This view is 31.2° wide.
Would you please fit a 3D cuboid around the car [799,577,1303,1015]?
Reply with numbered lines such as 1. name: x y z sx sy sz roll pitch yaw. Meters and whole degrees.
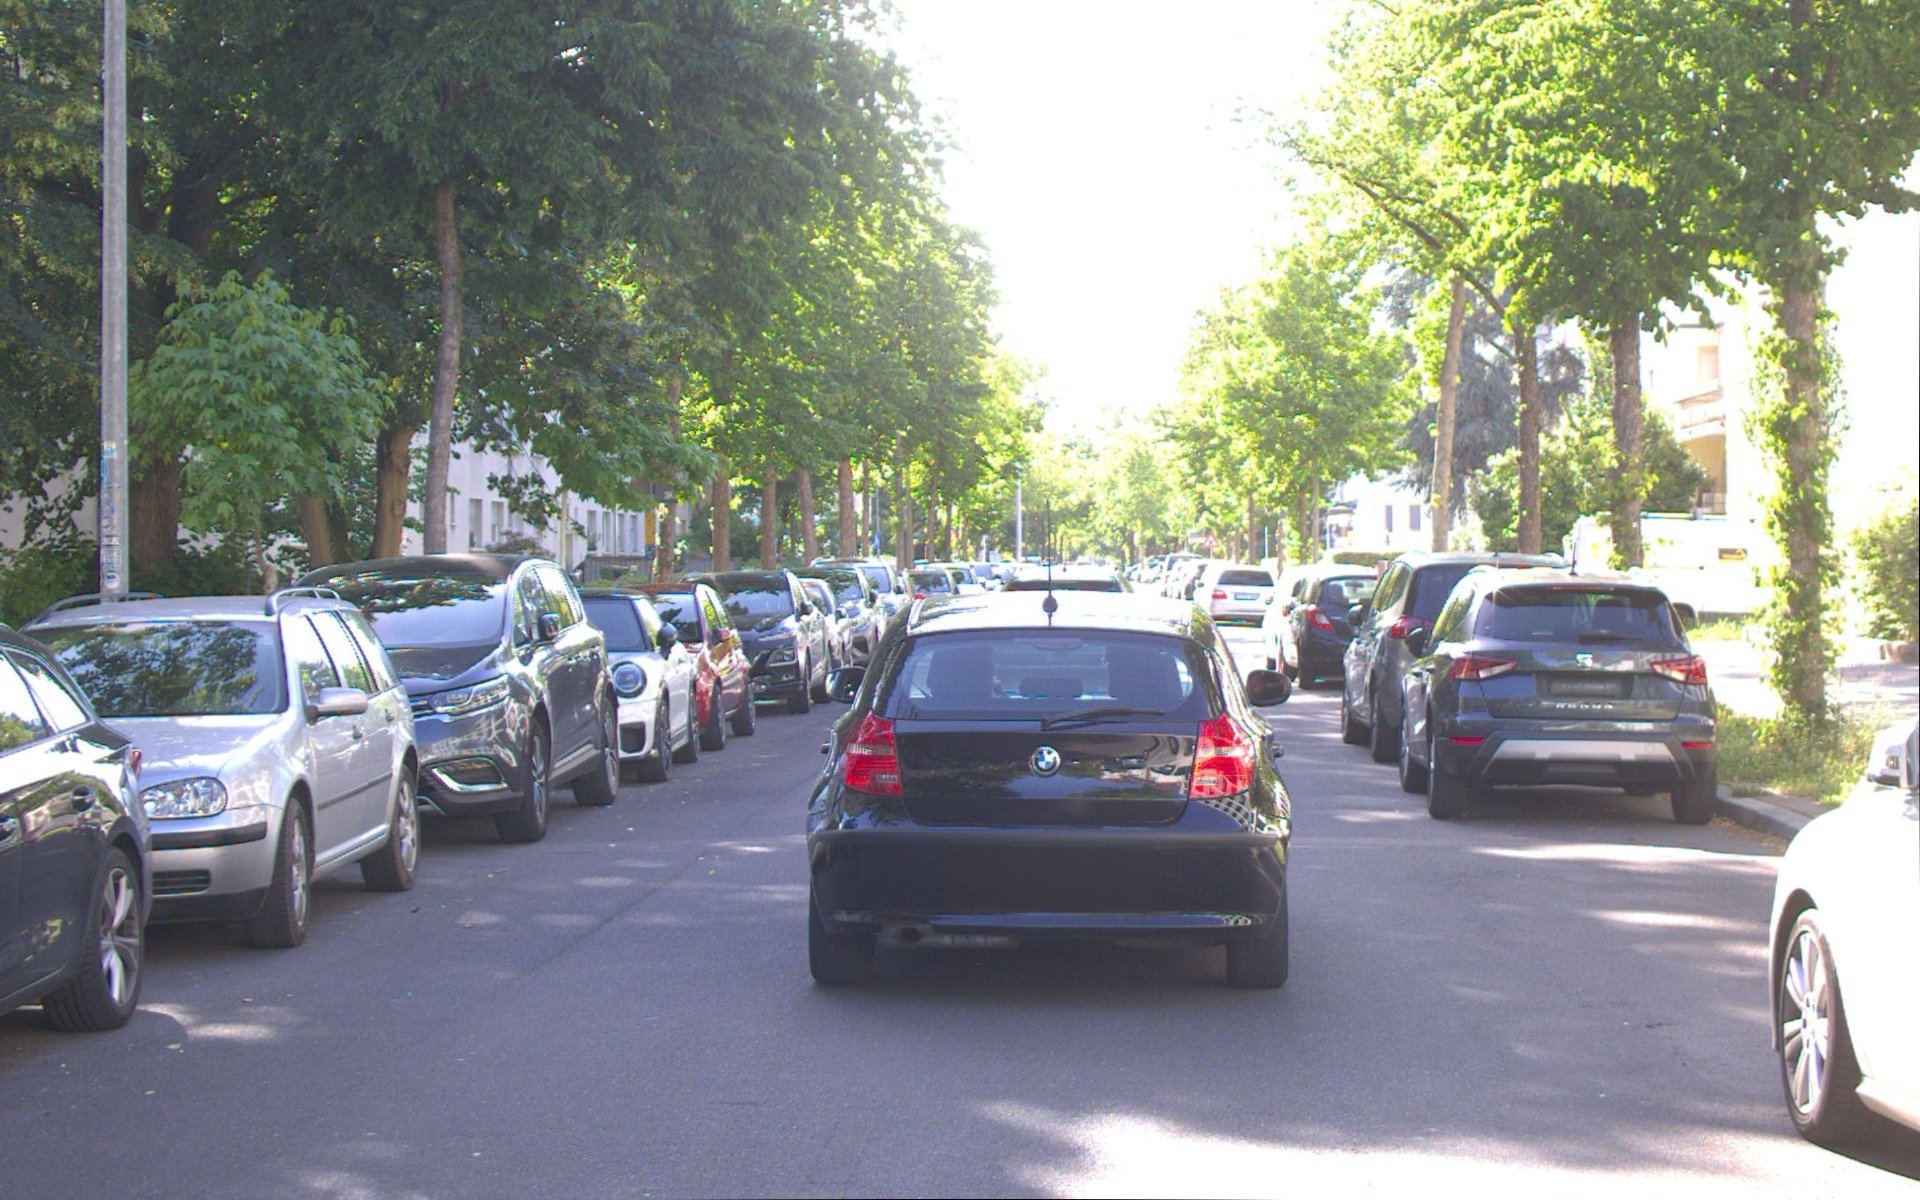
1. car: 0.253 0.635 13.089 1.649 1.392 3.412 -1 1 -2

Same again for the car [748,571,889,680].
1. car: -1.912 0.320 47.287 1.612 1.387 3.865 -1 1 2

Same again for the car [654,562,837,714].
1. car: -2.310 0.381 37.838 1.612 1.538 3.865 -1 1 2

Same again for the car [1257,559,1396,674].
1. car: 5.063 0.197 47.881 1.721 1.475 3.850 2 1 4

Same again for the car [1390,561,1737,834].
1. car: 3.759 0.541 22.004 1.721 1.523 4.000 2 1 4

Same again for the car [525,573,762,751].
1. car: -2.781 0.510 30.943 1.612 1.447 3.865 -1 1 2

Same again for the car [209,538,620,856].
1. car: -3.151 0.495 20.633 1.612 1.673 4.234 -1 1 2

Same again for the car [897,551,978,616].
1. car: -0.474 -0.386 76.879 1.612 1.387 3.865 -1 1 2

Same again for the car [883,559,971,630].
1. car: -0.658 -0.127 71.459 1.612 1.387 3.865 -1 1 2

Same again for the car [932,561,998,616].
1. car: 0.152 -0.324 91.120 1.612 1.387 3.865 -1 1 2

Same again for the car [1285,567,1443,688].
1. car: 5.018 0.307 43.090 1.721 1.375 3.850 2 1 4

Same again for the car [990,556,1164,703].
1. car: 1.276 0.269 36.029 1.649 1.421 4.001 -1 1 4

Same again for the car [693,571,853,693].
1. car: -2.286 0.361 42.774 1.612 1.387 3.865 -1 1 2

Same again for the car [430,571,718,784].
1. car: -2.877 0.535 26.330 1.612 1.447 3.865 -1 1 2

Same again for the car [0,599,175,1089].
1. car: -3.660 0.754 10.113 1.612 1.422 4.058 -1 1 2

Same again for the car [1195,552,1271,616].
1. car: 6.624 -0.403 83.137 1.721 1.475 3.850 -1 1 6

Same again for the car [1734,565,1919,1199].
1. car: 3.046 0.691 7.586 1.693 1.518 4.000 0 1 -1

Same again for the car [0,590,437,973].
1. car: -3.483 0.707 15.205 1.612 1.422 3.725 -1 1 2

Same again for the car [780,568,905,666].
1. car: -1.761 0.231 52.557 1.612 1.387 3.865 -1 1 2

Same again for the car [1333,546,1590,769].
1. car: 4.012 0.406 28.005 1.721 1.635 3.850 2 1 4
